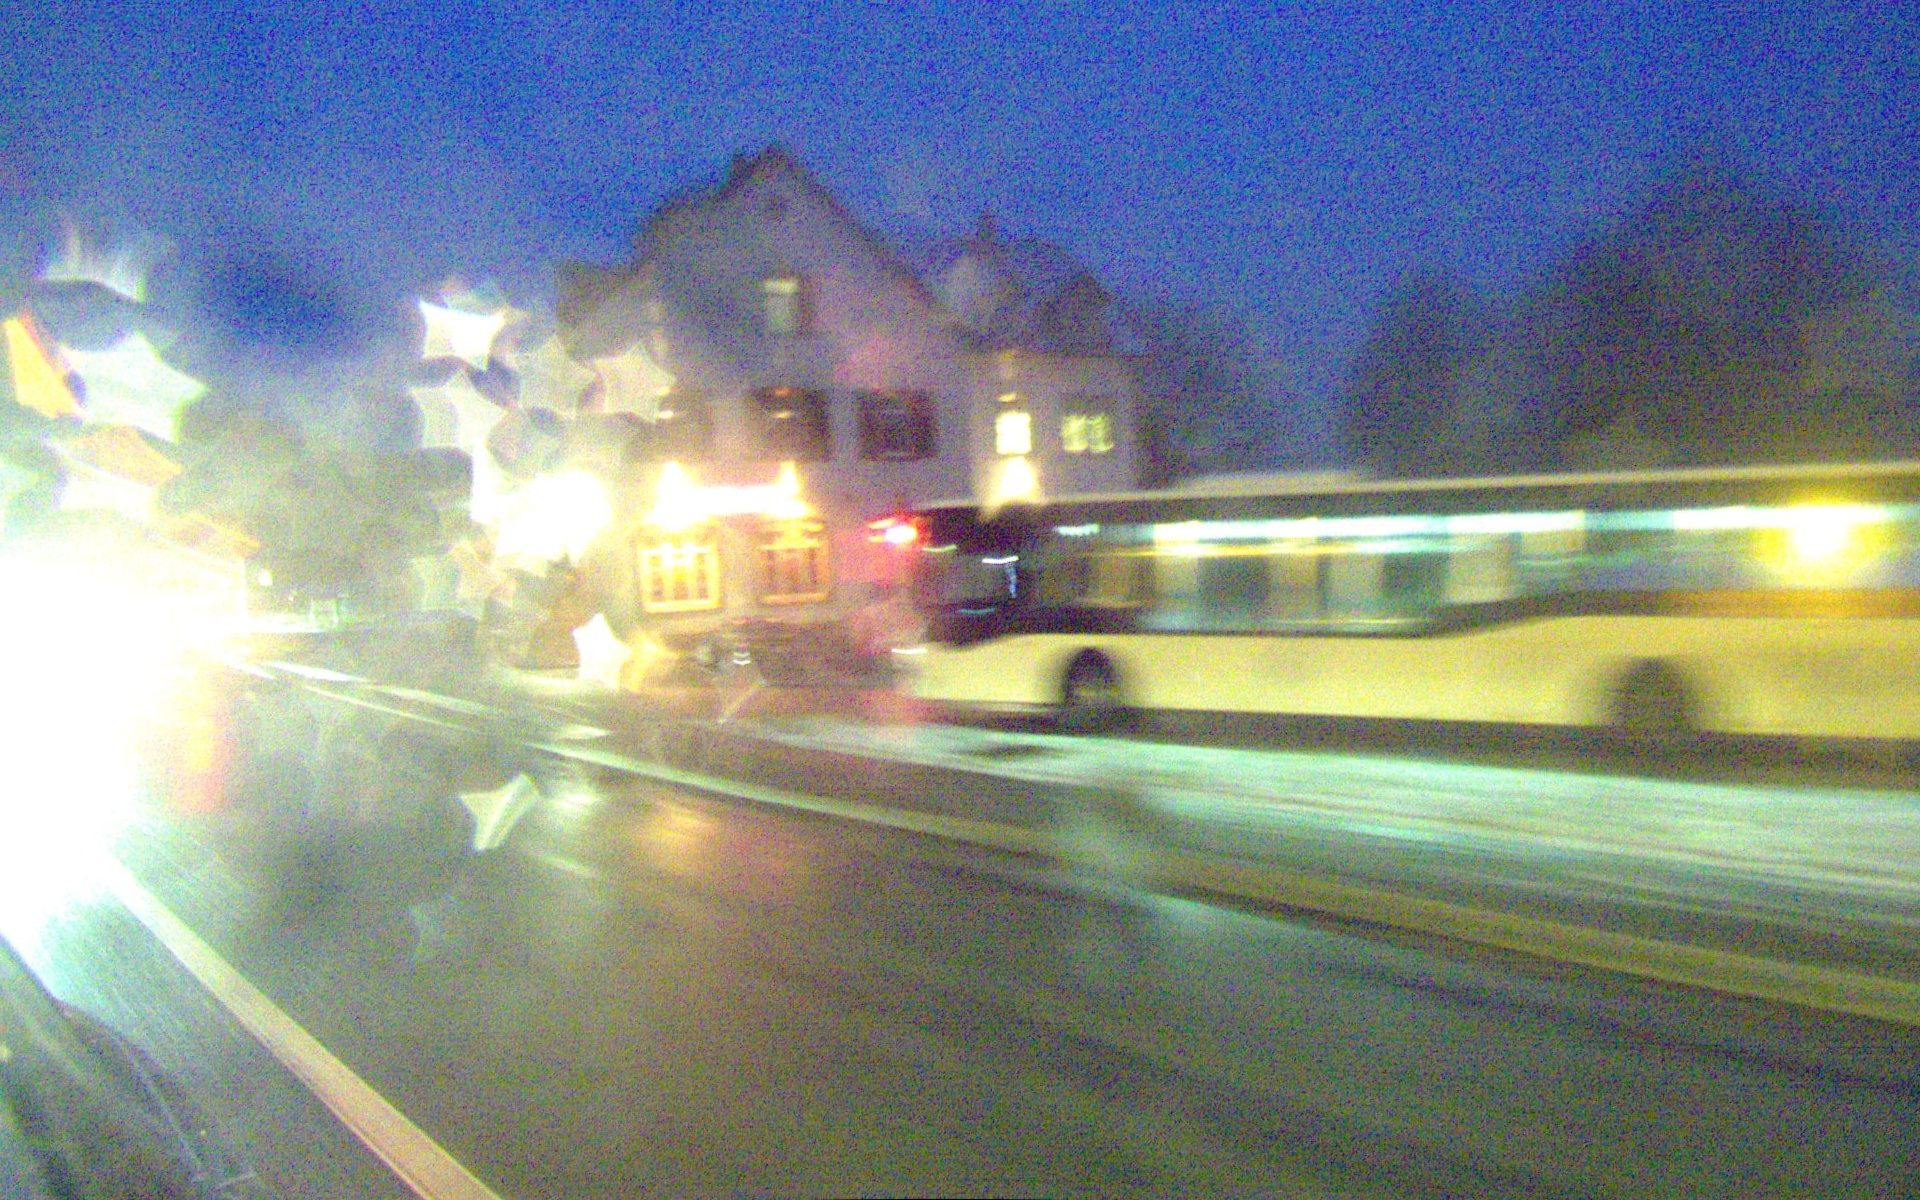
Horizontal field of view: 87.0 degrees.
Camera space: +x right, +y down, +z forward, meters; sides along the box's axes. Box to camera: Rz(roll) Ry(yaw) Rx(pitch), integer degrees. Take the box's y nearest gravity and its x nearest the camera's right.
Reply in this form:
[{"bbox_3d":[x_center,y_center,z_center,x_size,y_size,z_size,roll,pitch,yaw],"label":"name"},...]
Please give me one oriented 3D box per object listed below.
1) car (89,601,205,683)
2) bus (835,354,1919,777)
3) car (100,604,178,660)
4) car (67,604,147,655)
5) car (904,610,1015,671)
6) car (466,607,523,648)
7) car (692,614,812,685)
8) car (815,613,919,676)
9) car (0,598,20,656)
[{"bbox_3d":[-17.818,0.849,22.119,1.675,1.611,3.804,-1,0,-43],"label":"car"},{"bbox_3d":[4.847,-0.259,12.583,12.972,3.897,2.881,-1,0,23],"label":"bus"},{"bbox_3d":[-24.541,0.902,30.231,1.691,1.487,3.875,-2,1,-40],"label":"car"},{"bbox_3d":[-29.953,0.978,35.648,1.931,1.533,4.409,-2,2,-38],"label":"car"},{"bbox_3d":[-0.094,1.062,27.724,1.664,1.408,3.744,2,1,-23],"label":"car"},{"bbox_3d":[-17.279,0.999,37.696,1.664,1.409,4.164,2,-1,-21],"label":"car"},{"bbox_3d":[-5.379,1.174,25.682,1.818,1.386,4.752,-2,2,-26],"label":"car"},{"bbox_3d":[-2.530,1.132,26.751,1.664,1.408,3.744,2,1,-23],"label":"car"},{"bbox_3d":[-31.944,0.850,32.889,1.931,1.734,4.006,0,1,-41],"label":"car"}]
